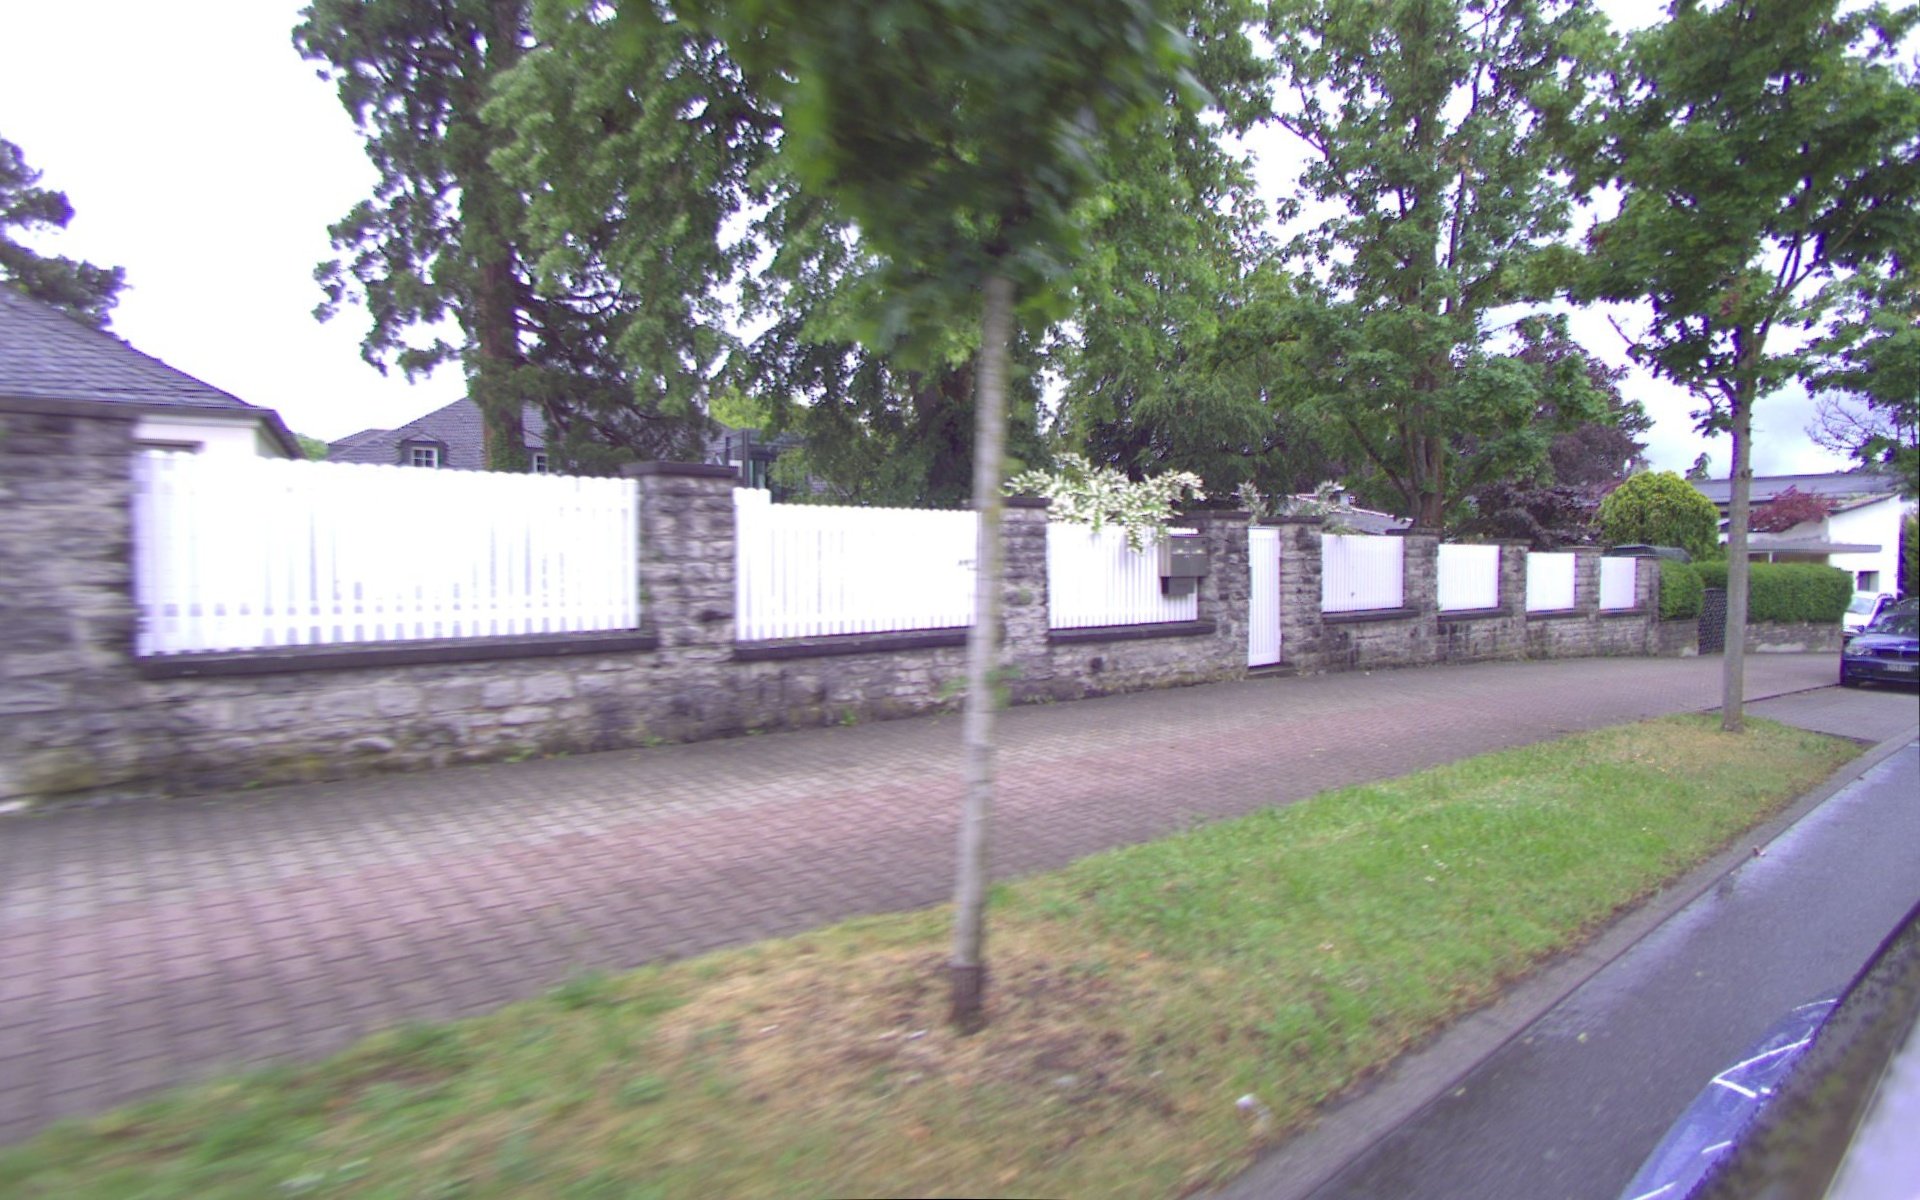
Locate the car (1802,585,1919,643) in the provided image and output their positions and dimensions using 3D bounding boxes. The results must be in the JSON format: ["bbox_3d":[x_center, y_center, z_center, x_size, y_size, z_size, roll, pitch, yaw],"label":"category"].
[{"bbox_3d":[29.905,0.420,33.497,4.848,1.779,1.801,0,1,-34],"label":"car"}]

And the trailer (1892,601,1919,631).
[{"bbox_3d":[36.532,0.634,38.048,3.213,0.931,1.427,-1,10,-35],"label":"trailer"}]

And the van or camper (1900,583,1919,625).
[{"bbox_3d":[41.807,0.328,41.683,2.081,1.697,4.008,0,5,-30],"label":"van or camper"}]

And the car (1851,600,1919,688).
[{"bbox_3d":[17.128,0.741,17.661,3.759,1.394,1.646,0,3,-38],"label":"car"}]

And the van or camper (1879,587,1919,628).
[{"bbox_3d":[39.002,0.370,40.141,1.735,1.574,3.416,0,4,-34],"label":"van or camper"}]
